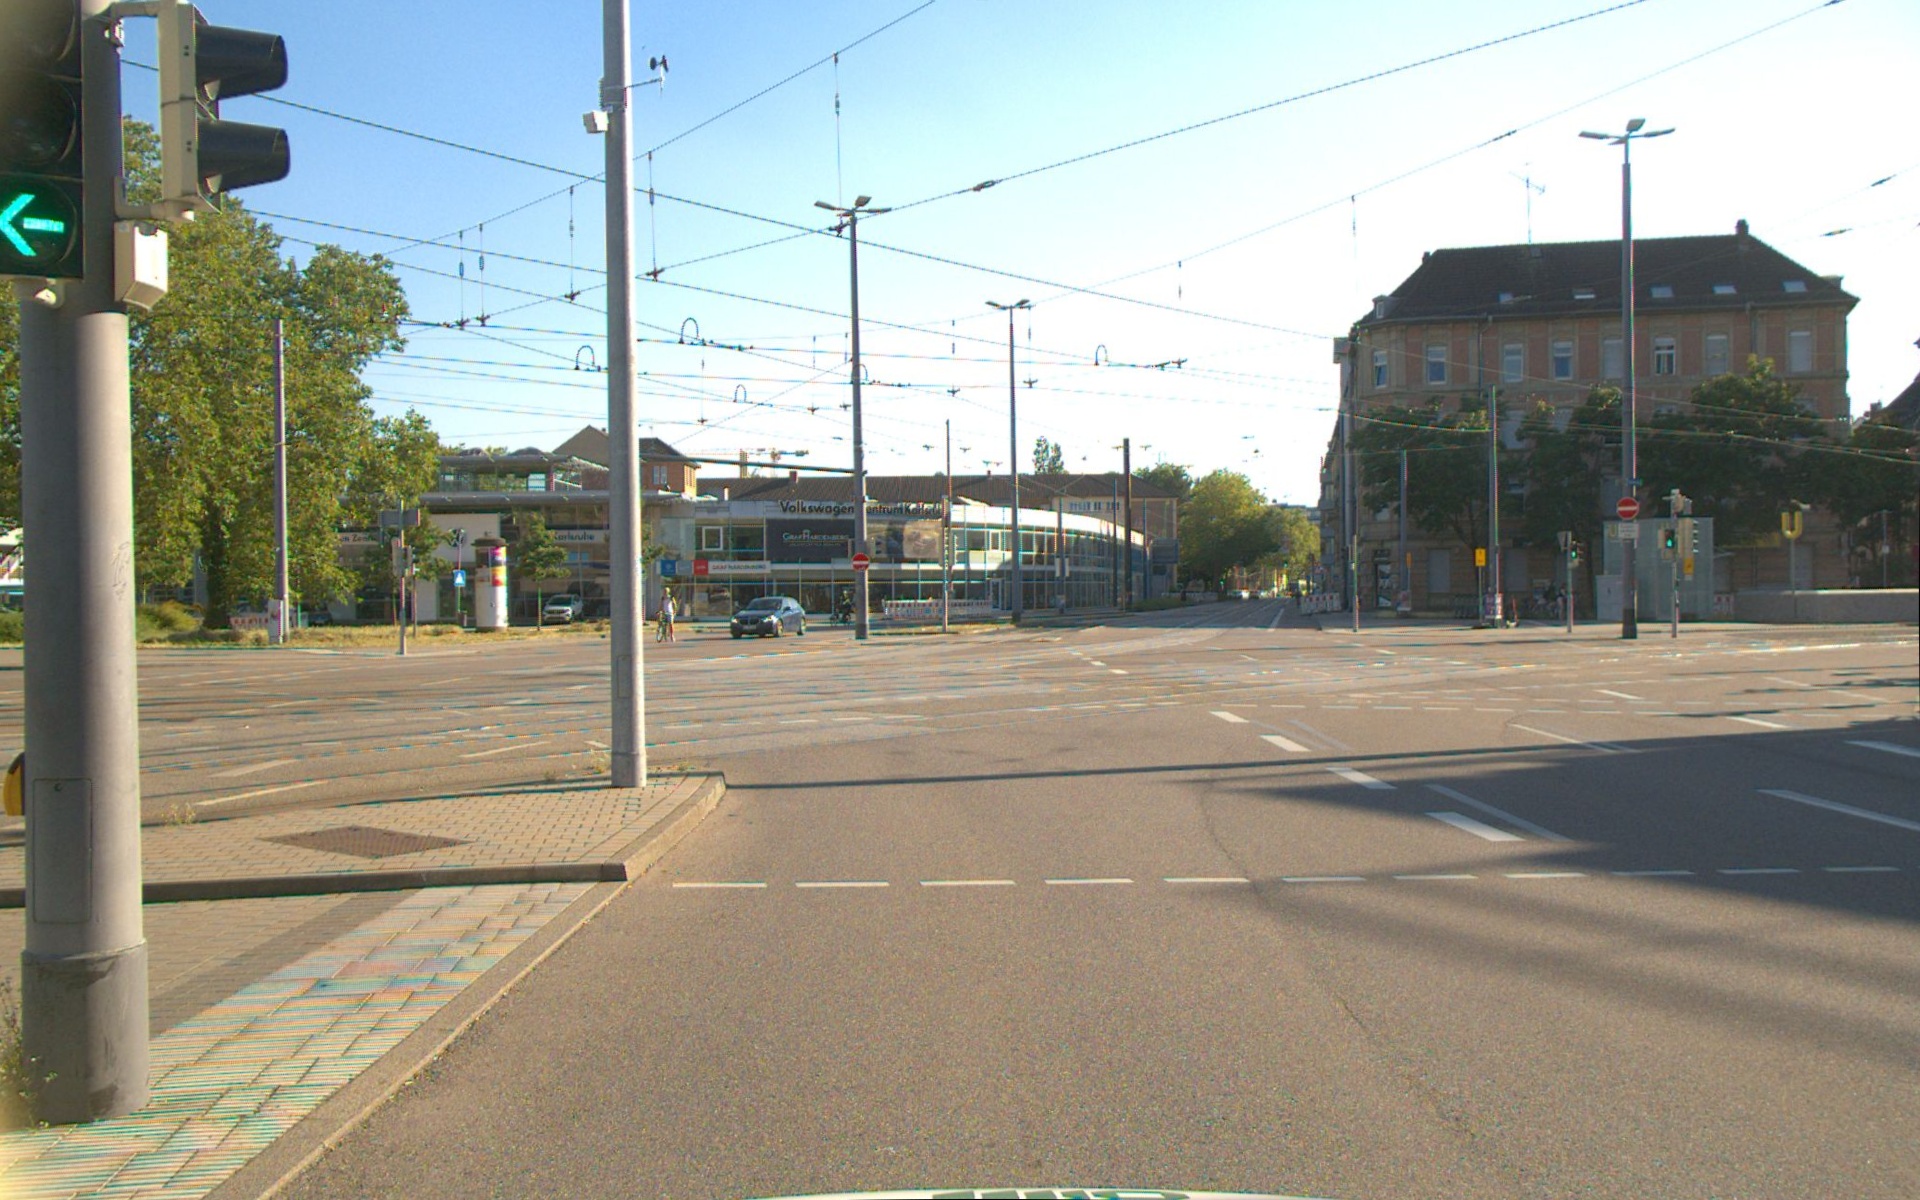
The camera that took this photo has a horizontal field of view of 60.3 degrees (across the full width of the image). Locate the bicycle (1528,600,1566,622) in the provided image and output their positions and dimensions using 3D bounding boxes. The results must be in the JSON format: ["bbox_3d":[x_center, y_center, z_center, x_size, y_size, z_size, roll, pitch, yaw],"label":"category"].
[{"bbox_3d":[27.083,0.512,76.331,1.561,0.969,0.660,1,-1,4],"label":"bicycle"}]

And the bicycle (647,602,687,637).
[{"bbox_3d":[-10.276,0.683,58.091,0.599,1.210,1.870,1,-1,16],"label":"bicycle"}]

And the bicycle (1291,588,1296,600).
[{"bbox_3d":[28.577,-0.510,141.644,0.401,0.958,1.847,1,-1,11],"label":"bicycle"}]

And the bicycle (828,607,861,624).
[{"bbox_3d":[-6.010,0.810,86.007,0.626,0.886,2.232,0,-1,28],"label":"bicycle"}]

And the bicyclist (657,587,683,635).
[{"bbox_3d":[-10.226,0.393,58.262,0.585,1.644,0.823,1,-1,15],"label":"bicyclist"}]

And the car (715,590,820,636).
[{"bbox_3d":[-6.928,0.480,59.981,1.954,1.613,3.997,1,-1,25],"label":"car"}]

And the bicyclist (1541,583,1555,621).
[{"bbox_3d":[27.143,0.110,76.332,0.503,1.730,0.520,1,-1,6],"label":"bicyclist"}]

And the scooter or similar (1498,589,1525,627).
[{"bbox_3d":[20.816,0.300,62.427,0.769,1.400,1.910,1,-1,13],"label":"scooter or similar"}]

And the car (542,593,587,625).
[{"bbox_3d":[-23.240,0.546,97.322,1.954,1.780,3.996,1,-1,-5],"label":"car"}]

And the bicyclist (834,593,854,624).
[{"bbox_3d":[-6.032,0.448,86.007,0.641,1.600,0.921,0,-1,28],"label":"bicyclist"}]

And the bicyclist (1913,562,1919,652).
[{"bbox_3d":[17.308,0.128,29.054,0.505,1.584,0.945,1,-1,-10],"label":"bicyclist"}]

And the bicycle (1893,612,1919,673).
[{"bbox_3d":[17.342,0.778,28.835,0.524,1.067,2.315,1,1,-10],"label":"bicycle"}]

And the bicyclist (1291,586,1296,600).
[{"bbox_3d":[28.540,-0.605,141.548,0.399,1.136,0.399,1,-1,10],"label":"bicyclist"}]
